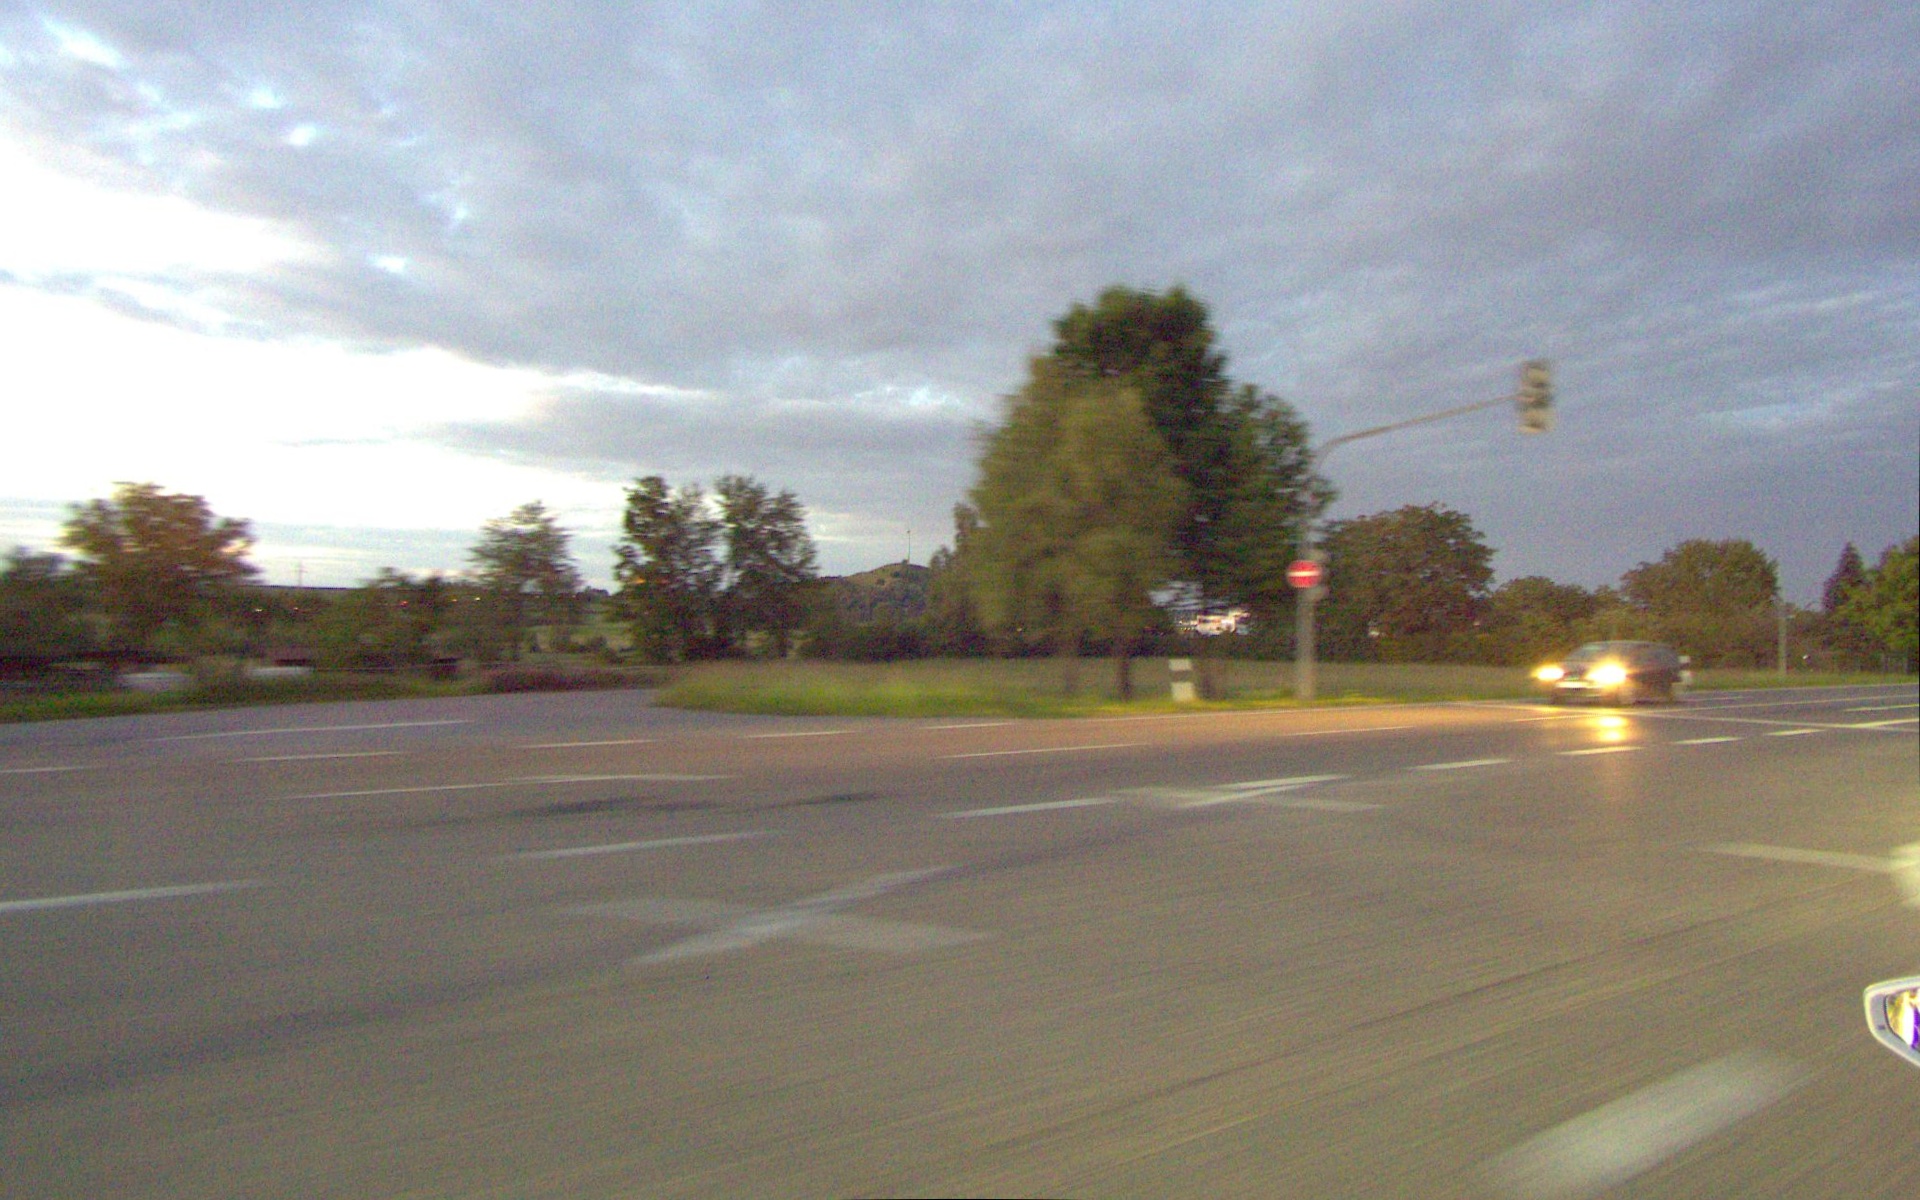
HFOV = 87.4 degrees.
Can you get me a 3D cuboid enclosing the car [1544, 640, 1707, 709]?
[{"bbox_3d":[15.587,1.705,23.481,3.985,1.403,1.643,2,0,-32],"label":"car"}]
